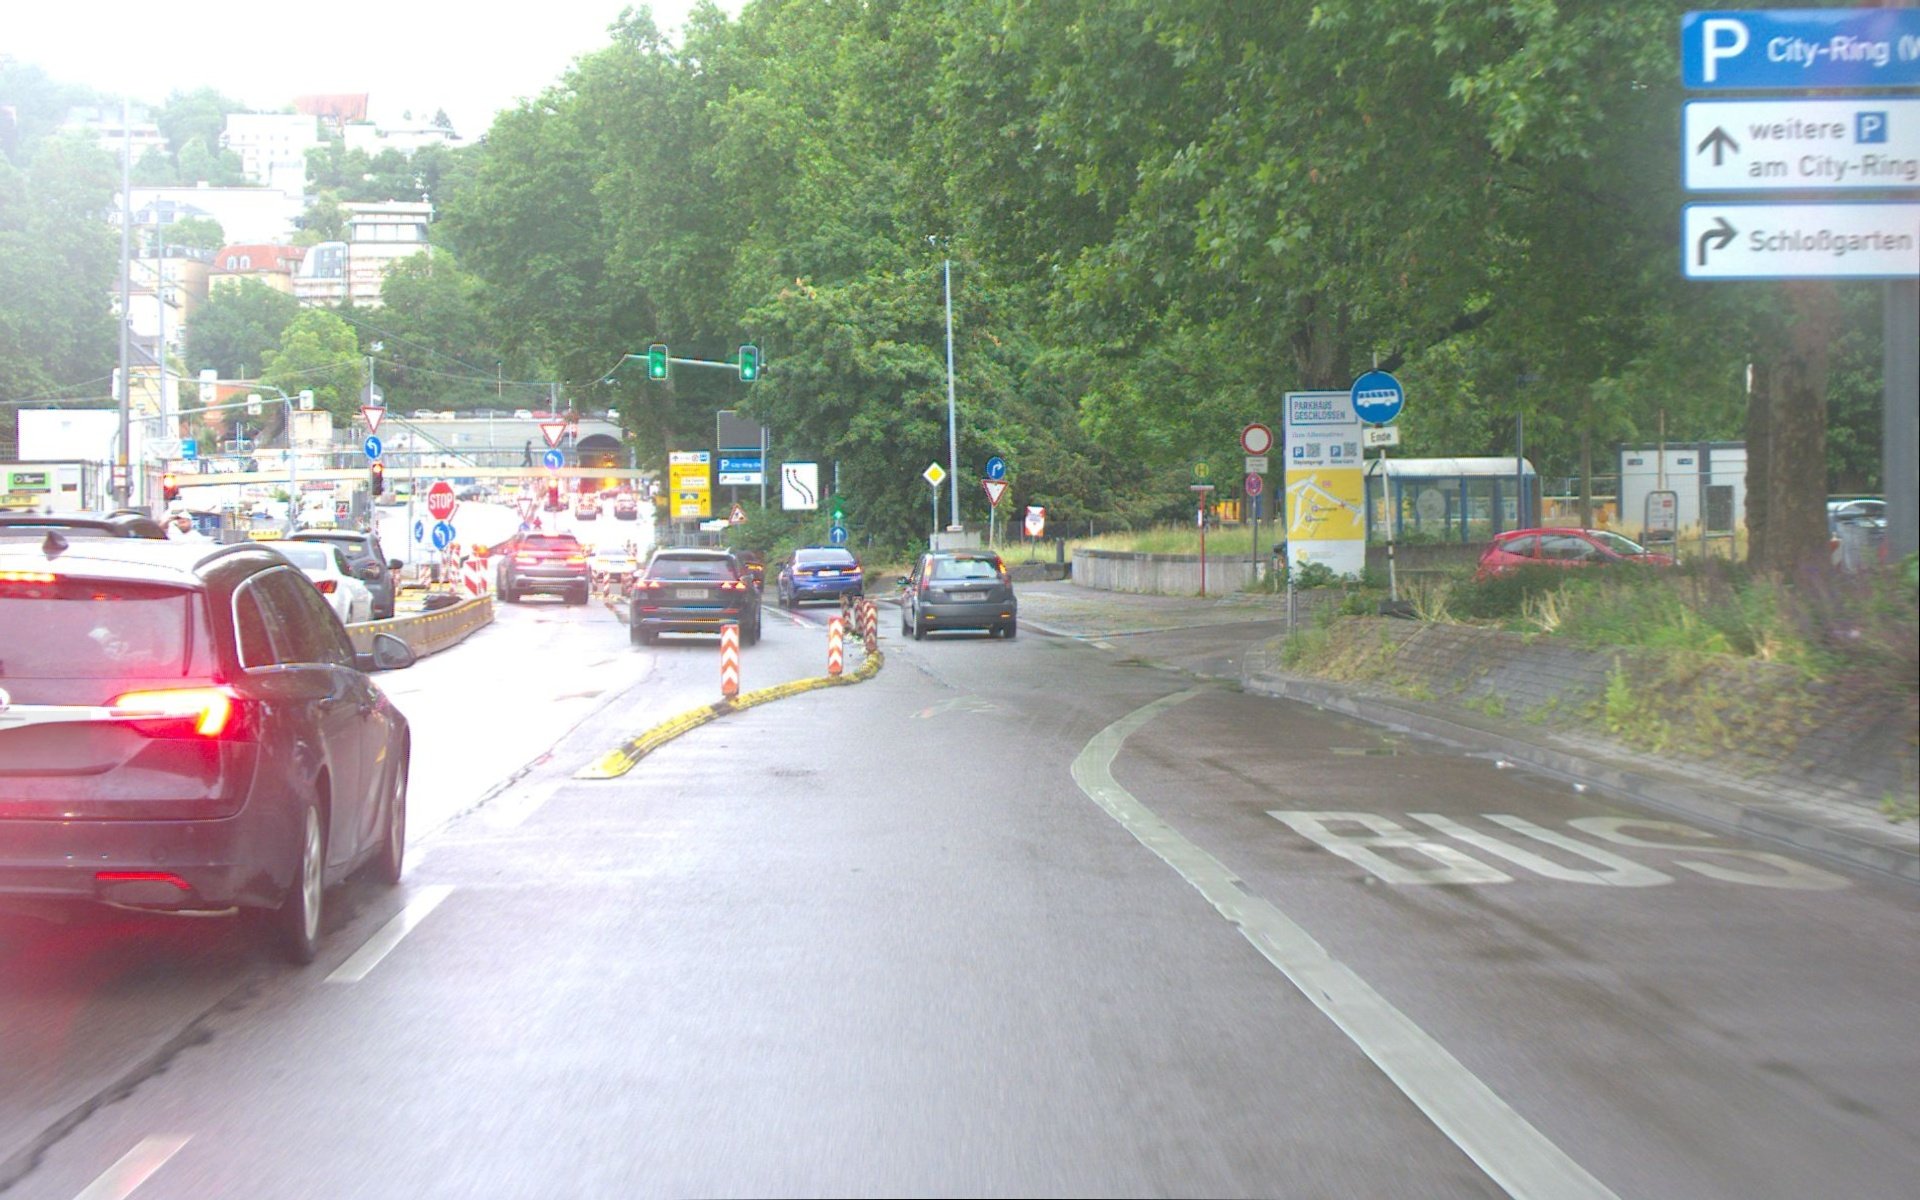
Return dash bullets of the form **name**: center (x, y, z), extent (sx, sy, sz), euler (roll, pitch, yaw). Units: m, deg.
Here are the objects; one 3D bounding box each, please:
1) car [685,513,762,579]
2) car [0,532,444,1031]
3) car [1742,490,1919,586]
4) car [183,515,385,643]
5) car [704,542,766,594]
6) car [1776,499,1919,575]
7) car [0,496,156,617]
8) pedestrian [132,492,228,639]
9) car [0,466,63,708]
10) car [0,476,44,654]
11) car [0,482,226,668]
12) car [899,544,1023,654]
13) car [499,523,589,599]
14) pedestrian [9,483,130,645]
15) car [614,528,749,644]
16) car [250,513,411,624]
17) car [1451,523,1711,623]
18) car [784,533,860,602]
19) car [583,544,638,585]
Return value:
- **car**: center (-6.333, -1.442, 92.568), extent (1.904, 1.711, 4.000), euler (1, 1, -2)
- **car**: center (-3.156, 0.502, 12.770), extent (1.877, 1.503, 4.852), euler (0, 1, -2)
- **car**: center (19.364, -1.342, 75.592), extent (2.132, 2.007, 4.637), euler (2, 1, 44)
- **car**: center (-8.912, -0.298, 45.701), extent (1.993, 1.562, 4.876), euler (-2, 1, -4)
- **car**: center (-7.276, -1.038, 111.005), extent (1.634, 1.619, 3.796), euler (1, 1, -9)
- **car**: center (22.164, -1.532, 84.554), extent (4.443, 1.775, 1.949), euler (0, 1, -44)
- **car**: center (-12.619, -0.629, 48.887), extent (1.714, 1.624, 4.056), euler (1, 1, -5)
- **pedestrian**: center (-10.768, -0.484, 47.479), extent (1.025, 2.007, 0.836), euler (0, 1, 14)
- **car**: center (-7.593, -0.103, 23.742), extent (1.823, 1.690, 4.775), euler (1, 1, -4)
- **car**: center (-11.832, -0.407, 38.720), extent (1.993, 2.007, 5.371), euler (1, 1, -5)
- **car**: center (-7.754, -0.237, 30.418), extent (1.823, 1.506, 4.491), euler (1, 1, -4)
- **car**: center (-0.019, -0.040, 56.280), extent (1.851, 1.711, 4.000), euler (1, 1, -2)
- **car**: center (-10.416, -0.980, 85.957), extent (1.993, 1.820, 4.001), euler (1, 1, -10)
- **pedestrian**: center (-9.271, -0.378, 35.809), extent (1.024, 1.669, 0.836), euler (0, 1, 2)
- **car**: center (-4.188, -0.246, 52.265), extent (1.830, 1.680, 4.134), euler (0, 1, -2)
- **car**: center (-9.309, -0.481, 51.104), extent (1.993, 1.525, 4.153), euler (-2, 1, -6)
- **car**: center (9.750, -0.439, 54.079), extent (3.615, 1.500, 1.730), euler (1, 1, 39)
- **car**: center (-3.279, -0.784, 82.238), extent (1.674, 1.576, 3.240), euler (1, 1, 0)
- **car**: center (-13.927, -1.433, 136.860), extent (1.813, 1.569, 4.001), euler (1, 1, -11)
